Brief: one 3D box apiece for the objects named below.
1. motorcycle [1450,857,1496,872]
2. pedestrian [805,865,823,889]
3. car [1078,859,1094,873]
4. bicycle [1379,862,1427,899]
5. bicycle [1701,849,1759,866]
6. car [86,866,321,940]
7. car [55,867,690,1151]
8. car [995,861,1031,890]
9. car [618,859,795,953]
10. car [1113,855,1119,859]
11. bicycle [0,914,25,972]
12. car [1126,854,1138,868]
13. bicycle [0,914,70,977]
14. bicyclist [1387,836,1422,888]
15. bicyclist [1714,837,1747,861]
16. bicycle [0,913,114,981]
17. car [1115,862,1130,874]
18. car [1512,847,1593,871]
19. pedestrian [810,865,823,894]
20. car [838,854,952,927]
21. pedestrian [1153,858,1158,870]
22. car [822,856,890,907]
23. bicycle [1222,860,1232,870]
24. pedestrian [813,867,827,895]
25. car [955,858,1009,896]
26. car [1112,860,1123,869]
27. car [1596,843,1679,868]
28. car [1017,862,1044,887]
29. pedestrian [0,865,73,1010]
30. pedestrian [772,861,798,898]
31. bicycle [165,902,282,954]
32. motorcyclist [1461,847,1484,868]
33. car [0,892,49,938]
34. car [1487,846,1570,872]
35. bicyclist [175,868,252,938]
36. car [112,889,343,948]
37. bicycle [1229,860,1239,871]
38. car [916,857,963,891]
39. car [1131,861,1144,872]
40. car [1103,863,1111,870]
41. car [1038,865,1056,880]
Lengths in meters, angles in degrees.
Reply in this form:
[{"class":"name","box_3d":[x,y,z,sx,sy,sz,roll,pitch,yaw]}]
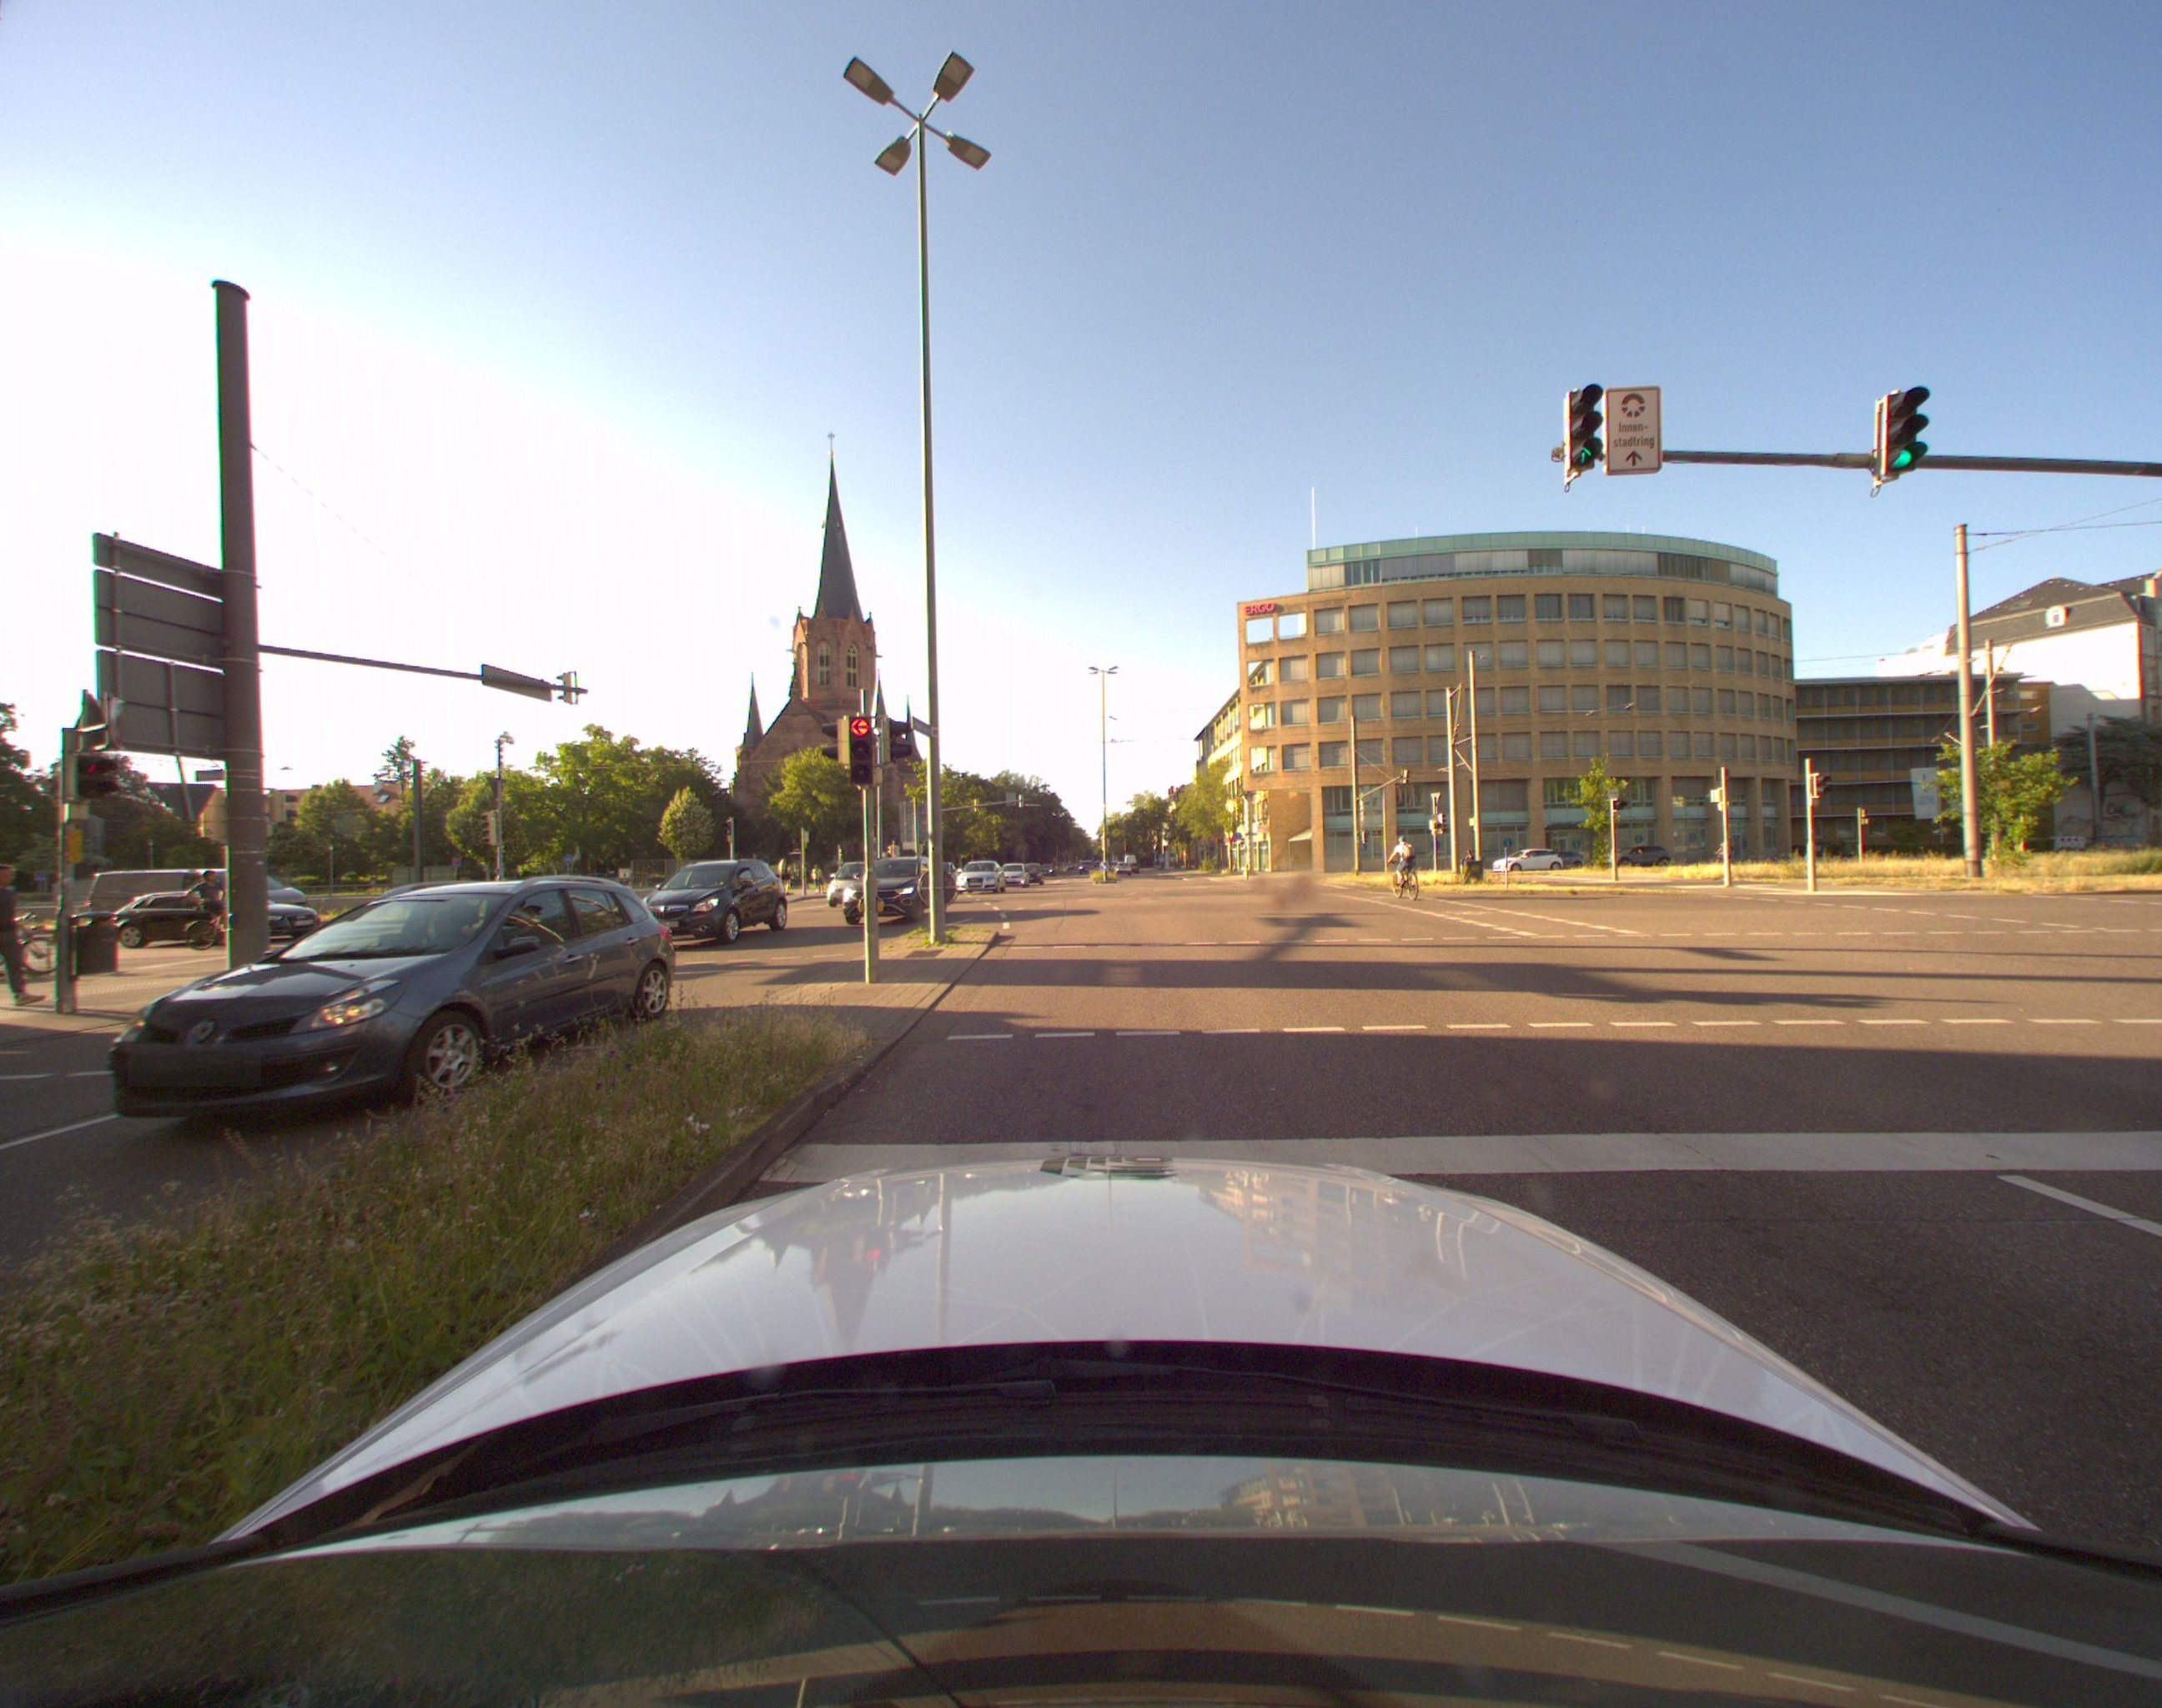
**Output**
[{"class":"motorcycle","box_3d":[27.208,0.730,56.595,2.709,0.964,1.032,-2,-1,0]},{"class":"pedestrian","box_3d":[-19.232,1.671,58.727,1.004,1.696,0.850,-1,-1,39]},{"class":"car","box_3d":[0.706,1.651,107.253,1.986,1.724,5.031,-2,-1,1]},{"class":"bicycle","box_3d":[8.795,0.712,22.306,0.590,0.943,1.979,0,0,2]},{"class":"bicycle","box_3d":[43.063,0.225,54.068,2.951,1.000,1.154,-2,-1,-1]},{"class":"car","box_3d":[-26.707,1.445,24.932,4.908,2.014,1.999,-2,-1,-1]},{"class":"car","box_3d":[-4.984,0.910,6.623,1.587,1.471,3.985,-3,0,0]},{"class":"car","box_3d":[-3.981,1.251,48.216,1.669,1.544,3.807,-3,0,1]},{"class":"car","box_3d":[-7.675,0.974,17.167,1.713,1.628,4.102,-3,0,1]},{"class":"car","box_3d":[10.971,0.829,256.042,1.588,1.267,3.268,-2,0,2]},{"class":"bicycle","box_3d":[-20.359,1.664,14.242,0.732,1.051,2.300,-2,-1,1]},{"class":"car","box_3d":[9.026,1.311,145.036,1.986,2.440,4.001,0,-1,2]},{"class":"bicycle","box_3d":[-19.547,1.662,14.277,0.732,1.051,2.300,-2,-1,1]},{"class":"bicyclist","box_3d":[8.796,0.214,22.161,0.590,1.369,0.930,0,0,2]},{"class":"bicyclist","box_3d":[43.094,-0.312,54.072,1.219,1.572,1.154,-2,-1,0]},{"class":"bicycle","box_3d":[-18.742,1.641,14.300,0.732,1.051,2.300,-2,0,1]},{"class":"car","box_3d":[4.541,1.501,89.754,1.588,1.267,3.268,-2,0,2]},{"class":"car","box_3d":[32.700,0.351,56.581,4.464,1.537,1.987,-2,-1,2]},{"class":"pedestrian","box_3d":[-15.399,1.472,47.389,0.710,1.696,0.890,0,-1,-20]},{"class":"car","box_3d":[-4.557,0.834,20.551,1.668,1.544,4.105,-3,0,3]},{"class":"pedestrian","box_3d":[11.963,1.627,130.799,0.844,1.803,0.776,-2,0,1]},{"class":"car","box_3d":[-7.750,0.917,28.309,1.531,1.593,2.807,-3,0,-1]},{"class":"bicycle","box_3d":[15.229,1.169,84.964,0.644,0.994,2.081,-2,-1,1]},{"class":"pedestrian","box_3d":[-16.119,1.681,50.291,0.844,1.696,1.011,0,-1,-17]},{"class":"car","box_3d":[-4.274,0.973,35.655,1.702,1.425,4.104,-3,0,1]},{"class":"car","box_3d":[5.370,1.589,119.772,1.588,1.267,3.268,-2,0,2]},{"class":"car","box_3d":[35.179,0.109,51.548,4.038,1.492,1.820,-2,-1,0]},{"class":"car","box_3d":[-3.566,1.429,57.912,1.572,1.544,3.478,-3,0,1]},{"class":"pedestrian","box_3d":[-13.702,1.047,10.399,0.605,1.787,0.813,1,0,5]},{"class":"pedestrian","box_3d":[-14.320,1.206,39.405,0.962,1.739,0.812,-1,-1,-1]},{"class":"bicycle","box_3d":[-20.816,1.782,19.798,1.770,1.097,0.952,-3,0,1]},{"class":"motorcyclist","box_3d":[27.209,0.256,56.604,1.061,1.435,1.032,-2,-1,0]},{"class":"car","box_3d":[-35.100,1.960,25.208,3.889,1.374,1.800,-2,-1,-1]},{"class":"car","box_3d":[28.300,0.301,51.550,4.150,1.492,1.994,-2,-1,-1]},{"class":"bicyclist","box_3d":[-21.067,1.178,19.797,0.733,1.598,0.963,-3,0,1]},{"class":"car","box_3d":[-22.654,1.692,21.744,4.175,1.312,1.800,-2,-1,-1]},{"class":"bicycle","box_3d":[15.128,1.132,80.428,0.644,0.994,2.081,-2,-1,1]},{"class":"car","box_3d":[-7.334,1.003,42.466,1.669,1.544,3.639,-3,0,1]},{"class":"car","box_3d":[7.404,1.615,106.772,1.588,1.267,3.268,-2,0,2]},{"class":"car","box_3d":[5.027,2.429,156.781,1.588,1.267,3.268,-2,0,2]},{"class":"car","box_3d":[-4.264,2.321,102.034,1.986,1.724,4.593,-2,-1,1]}]
